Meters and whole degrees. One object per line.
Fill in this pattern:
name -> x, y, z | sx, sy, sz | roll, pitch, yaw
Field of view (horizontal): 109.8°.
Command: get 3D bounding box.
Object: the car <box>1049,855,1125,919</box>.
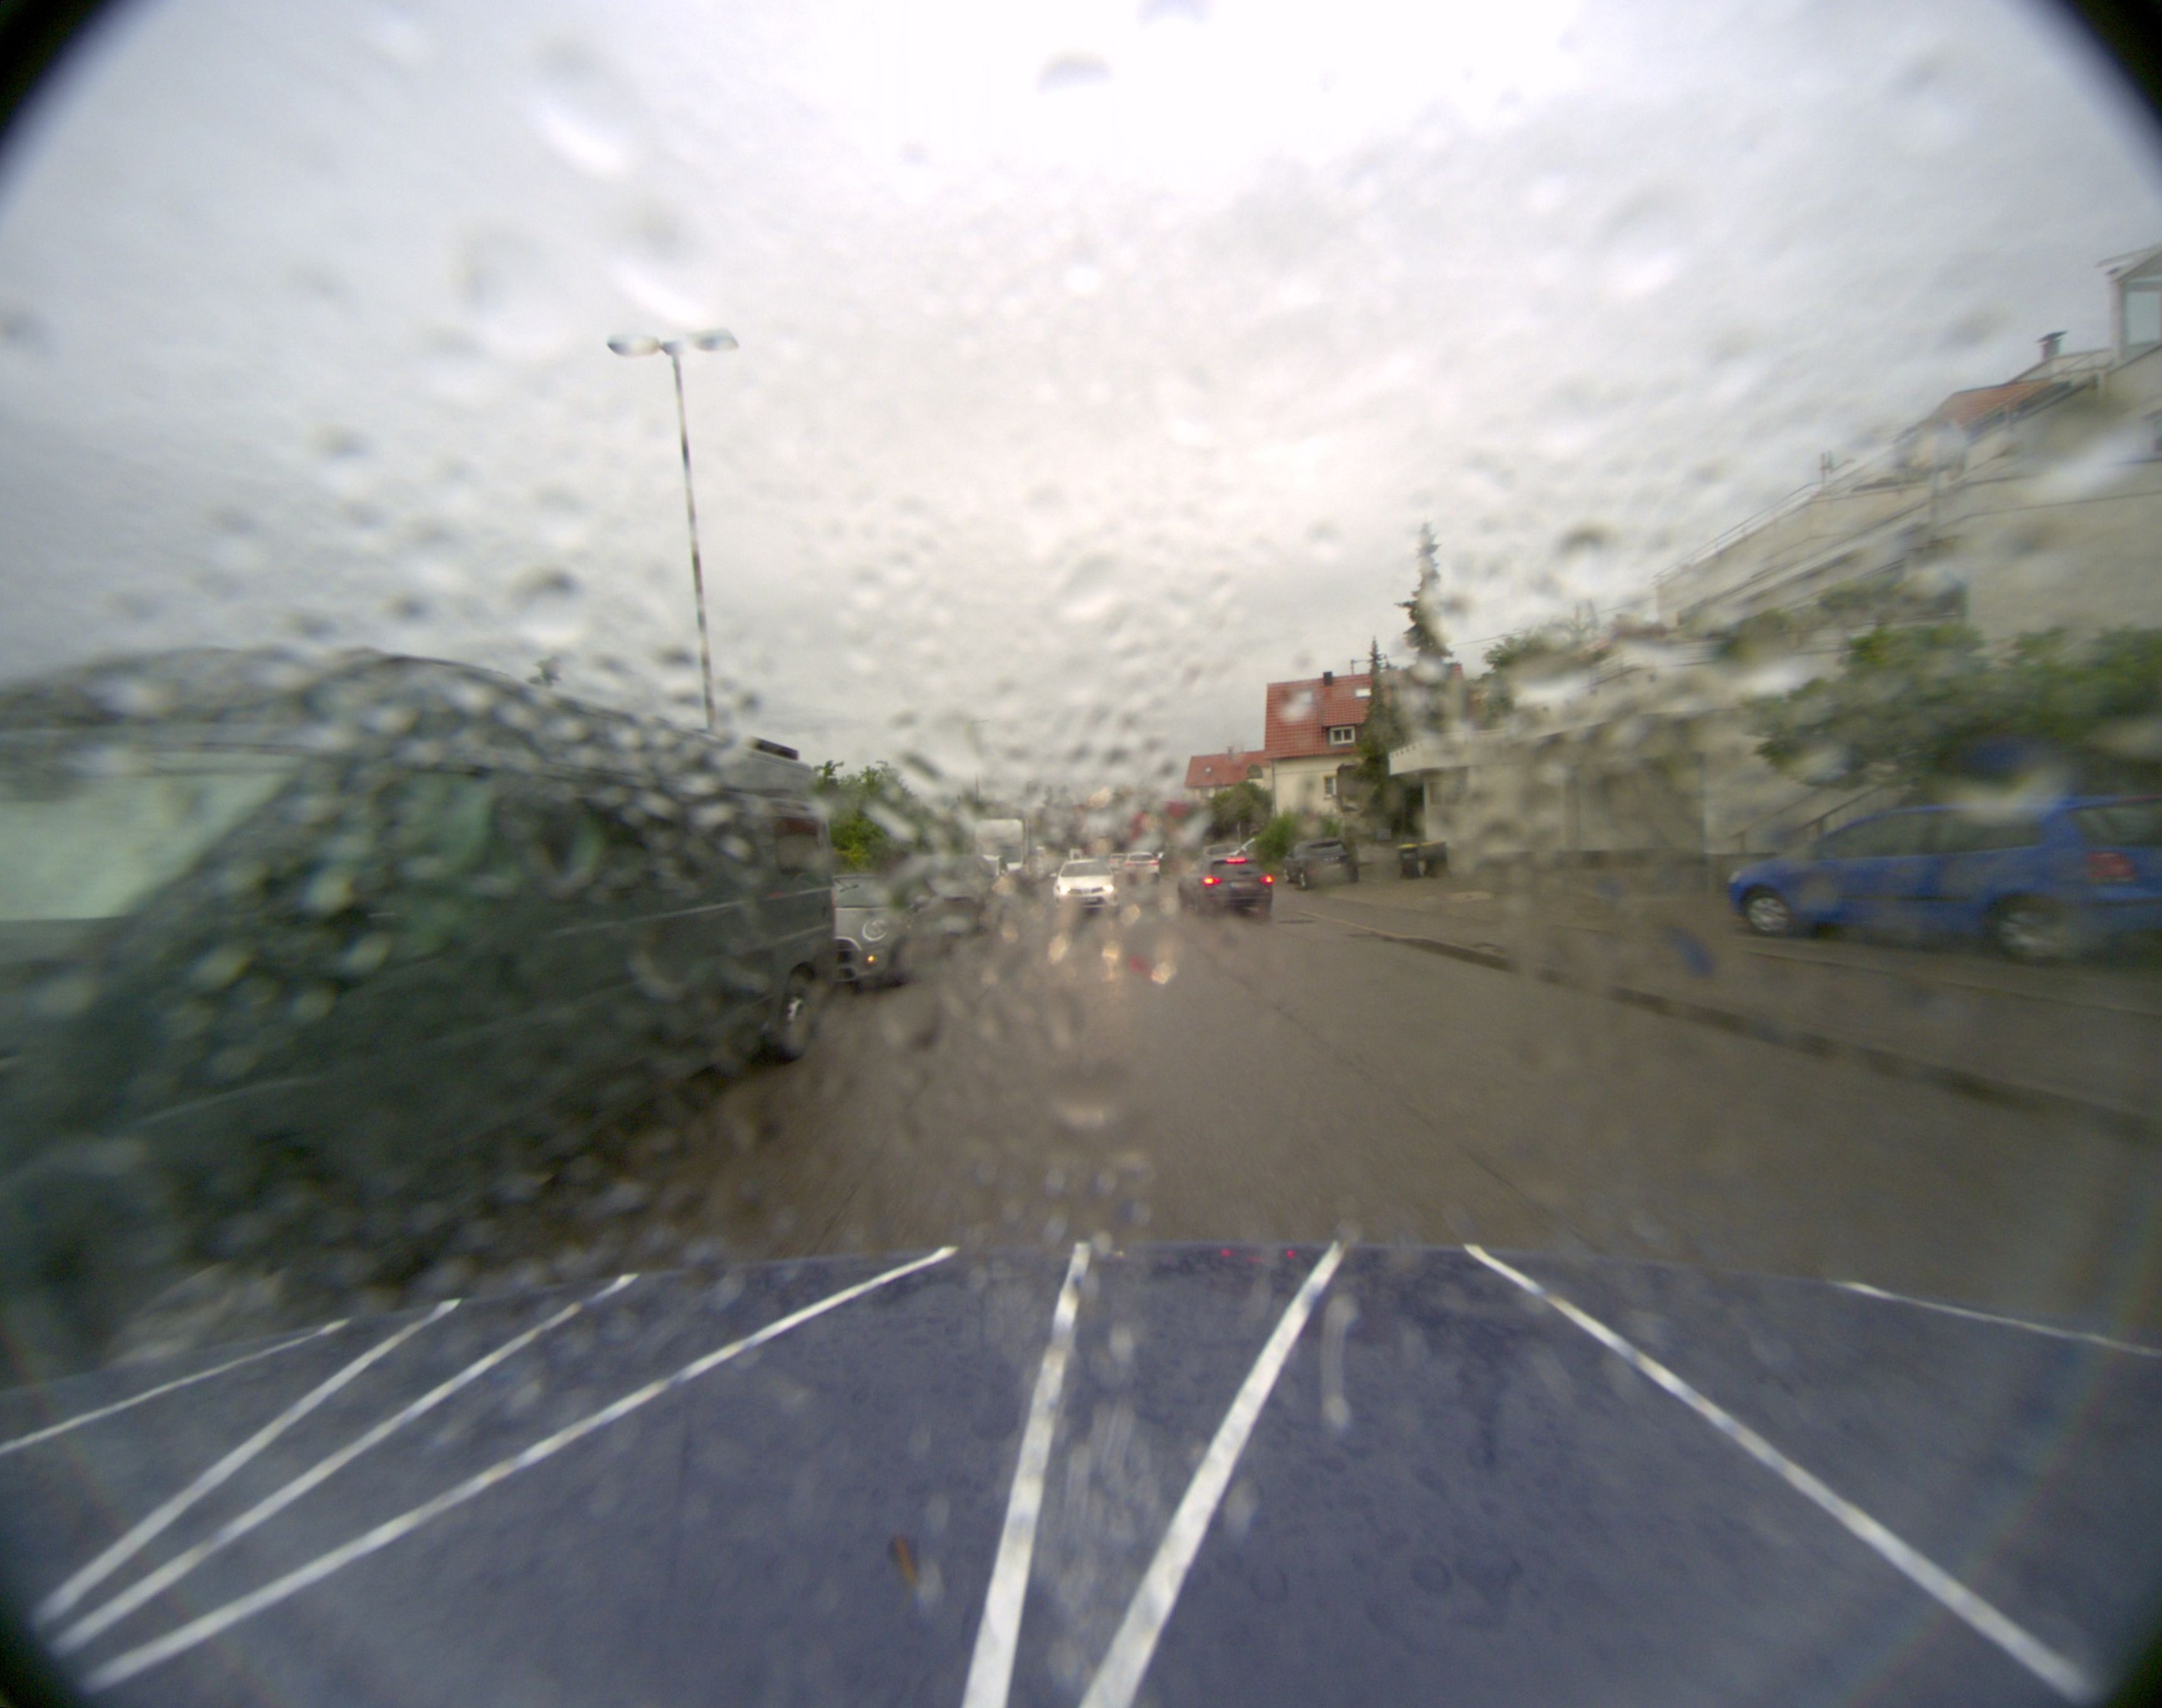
car -> 0.168, 0.868, 21.688 | 1.863, 1.370, 4.179 | -4, 2, 1

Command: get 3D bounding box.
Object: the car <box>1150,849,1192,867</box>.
car -> 8.990, 0.364, 75.951 | 3.831, 1.469, 1.805 | 4, 2, 15

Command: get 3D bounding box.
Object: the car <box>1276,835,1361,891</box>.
car -> 8.229, 0.291, 26.706 | 1.693, 1.579, 4.197 | -9, 0, 3

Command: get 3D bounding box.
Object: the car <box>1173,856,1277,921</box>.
car -> 3.532, 0.785, 19.374 | 1.779, 1.429, 4.361 | 0, 0, -1

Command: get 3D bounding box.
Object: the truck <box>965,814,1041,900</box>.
truck -> -3.282, 0.082, 33.835 | 2.442, 3.316, 7.963 | -2, 1, 0

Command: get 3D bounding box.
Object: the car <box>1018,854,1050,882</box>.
car -> -2.974, 0.874, 48.586 | 1.764, 1.595, 4.666 | -2, 1, -1

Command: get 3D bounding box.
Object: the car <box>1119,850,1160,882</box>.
car -> 3.043, 0.606, 40.281 | 1.803, 1.558, 4.384 | -2, 0, 0

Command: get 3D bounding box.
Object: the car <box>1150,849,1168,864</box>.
car -> 8.334, 0.214, 80.829 | 1.769, 1.368, 4.249 | -6, 0, 7

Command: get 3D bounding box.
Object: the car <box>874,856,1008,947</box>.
car -> -2.915, 0.918, 16.952 | 1.941, 1.662, 4.694 | -2, 0, 2

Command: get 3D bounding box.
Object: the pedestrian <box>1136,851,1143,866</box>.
pedestrian -> 6.565, 0.481, 85.726 | 0.718, 1.625, 0.707 | -2, 1, 1

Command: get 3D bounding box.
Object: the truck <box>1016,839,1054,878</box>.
truck -> -3.319, 0.277, 56.396 | 2.244, 2.616, 6.538 | -2, 1, 1

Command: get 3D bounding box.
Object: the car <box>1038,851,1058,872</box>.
car -> -3.210, 0.697, 74.339 | 1.854, 1.871, 4.909 | -2, 1, -2

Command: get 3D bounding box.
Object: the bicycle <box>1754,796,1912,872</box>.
bicycle -> 11.242, -0.289, 11.416 | 1.565, 1.001, 0.479 | -4, 1, 29

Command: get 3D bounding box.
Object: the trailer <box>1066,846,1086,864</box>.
trailer -> -0.683, 0.141, 113.337 | 1.952, 2.442, 5.437 | -2, 1, 10

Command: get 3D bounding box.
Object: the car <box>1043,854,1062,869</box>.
car -> -3.215, 0.837, 85.856 | 1.820, 1.498, 4.724 | -2, 1, 1

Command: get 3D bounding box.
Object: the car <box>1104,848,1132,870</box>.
car -> 2.919, 0.420, 61.447 | 1.911, 1.598, 4.427 | -3, 0, -1

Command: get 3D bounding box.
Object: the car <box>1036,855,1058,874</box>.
car -> -3.037, 0.939, 67.971 | 1.652, 1.554, 3.963 | -2, 1, 1

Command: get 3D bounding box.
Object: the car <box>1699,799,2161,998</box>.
car -> 8.853, 0.320, 7.812 | 1.611, 1.426, 3.959 | -6, 0, -1

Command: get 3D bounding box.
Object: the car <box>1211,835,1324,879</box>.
car -> 8.973, 0.144, 36.629 | 5.091, 1.933, 2.144 | -2, 1, 16

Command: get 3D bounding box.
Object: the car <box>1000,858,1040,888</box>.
car -> -3.300, 0.990, 42.074 | 1.837, 1.429, 4.985 | -2, 1, -1

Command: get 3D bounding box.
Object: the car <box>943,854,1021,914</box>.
car -> -3.200, 0.905, 25.778 | 1.850, 1.674, 5.637 | -2, 1, 0

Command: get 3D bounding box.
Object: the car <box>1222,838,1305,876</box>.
car -> 9.563, 0.141, 39.745 | 4.060, 1.629, 1.895 | -4, 1, 16

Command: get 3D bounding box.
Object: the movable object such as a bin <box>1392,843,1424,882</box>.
movable object such as a bin -> 10.066, 0.264, 23.422 | 0.725, 1.064, 0.850 | -7, 1, 18

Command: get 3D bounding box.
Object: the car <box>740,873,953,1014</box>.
car -> -2.945, 1.048, 10.407 | 1.593, 1.421, 3.798 | -2, 0, 2

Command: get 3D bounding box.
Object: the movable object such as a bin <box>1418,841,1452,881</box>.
movable object such as a bin -> 10.431, 0.203, 22.401 | 0.725, 1.064, 0.767 | -7, 1, 18

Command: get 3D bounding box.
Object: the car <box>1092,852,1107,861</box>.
car -> 3.131, 0.436, 127.196 | 1.636, 1.448, 3.705 | -2, 1, 17

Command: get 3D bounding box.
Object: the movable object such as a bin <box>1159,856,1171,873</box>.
movable object such as a bin -> 5.561, 0.689, 50.063 | 0.604, 1.057, 0.698 | -4, 1, -4

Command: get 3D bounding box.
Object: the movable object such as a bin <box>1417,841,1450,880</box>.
movable object such as a bin -> 10.740, 0.185, 23.165 | 0.725, 1.064, 0.767 | -7, 1, 18

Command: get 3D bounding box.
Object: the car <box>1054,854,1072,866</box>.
car -> -2.351, 0.768, 102.183 | 1.797, 1.451, 4.790 | -2, 0, 6

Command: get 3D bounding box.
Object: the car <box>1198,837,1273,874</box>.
car -> 9.085, 0.081, 44.643 | 4.061, 1.682, 1.895 | -6, 1, 13

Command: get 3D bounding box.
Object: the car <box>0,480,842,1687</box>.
car -> -3.230, 0.478, 3.764 | 2.036, 2.491, 5.956 | -2, 0, 1
